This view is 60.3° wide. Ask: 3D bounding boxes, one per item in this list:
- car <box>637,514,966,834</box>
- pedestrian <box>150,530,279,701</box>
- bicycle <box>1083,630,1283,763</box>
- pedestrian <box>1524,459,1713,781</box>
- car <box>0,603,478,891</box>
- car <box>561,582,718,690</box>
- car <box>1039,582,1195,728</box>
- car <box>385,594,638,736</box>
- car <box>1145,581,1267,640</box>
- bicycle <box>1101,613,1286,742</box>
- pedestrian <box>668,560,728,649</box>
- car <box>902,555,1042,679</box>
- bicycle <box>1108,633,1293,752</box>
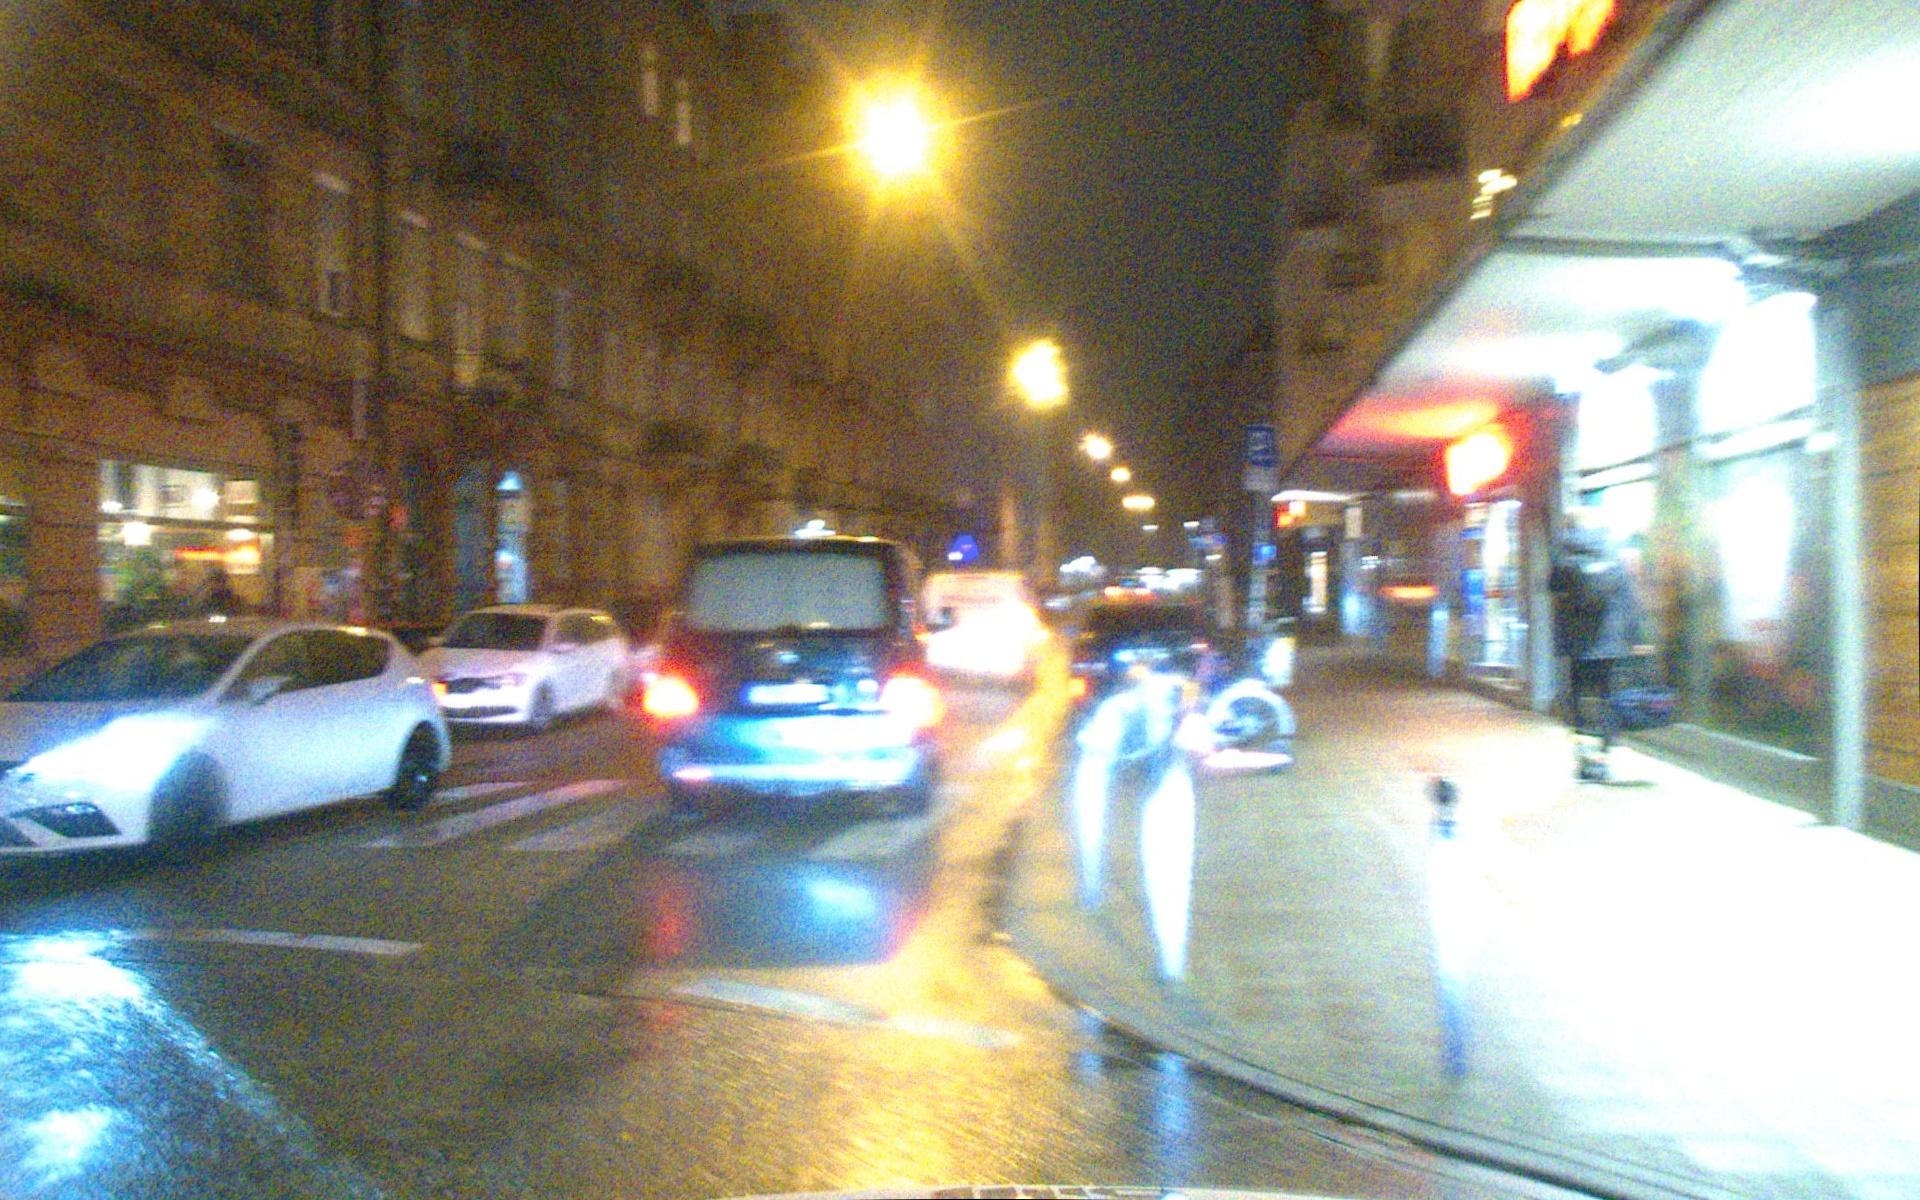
[{"bbox_3d":[-1.109,0.440,12.819,2.080,2.026,4.598,0,1,-3],"label":"car"},{"bbox_3d":[-8.113,0.160,18.044,0.787,1.797,1.016,1,0,14],"label":"pedestrian"},{"bbox_3d":[1.996,0.865,14.907,1.745,1.144,0.436,-1,1,6],"label":"bicycle"},{"bbox_3d":[4.822,0.146,12.193,1.031,2.247,0.971,-2,0,8],"label":"pedestrian"},{"bbox_3d":[-4.935,0.802,10.930,1.529,1.452,4.073,-1,1,13],"label":"car"},{"bbox_3d":[-4.890,0.507,25.532,1.552,1.536,2.790,0,1,8],"label":"car"},{"bbox_3d":[1.985,0.620,20.506,1.716,1.593,4.157,1,0,7],"label":"car"},{"bbox_3d":[-5.502,0.728,20.823,1.552,1.489,4.027,3,1,8],"label":"car"},{"bbox_3d":[8.865,0.377,59.770,3.913,2.049,1.996,-1,-1,-9],"label":"car"},{"bbox_3d":[2.301,0.763,16.387,1.725,1.144,0.436,-4,0,6],"label":"bicycle"},{"bbox_3d":[-5.763,0.092,36.475,1.010,1.897,0.978,1,0,9],"label":"pedestrian"},{"bbox_3d":[0.301,0.222,28.763,2.078,1.956,4.829,1,1,5],"label":"car"},{"bbox_3d":[2.288,0.878,15.824,1.724,1.098,0.436,-1,1,6],"label":"bicycle"}]
